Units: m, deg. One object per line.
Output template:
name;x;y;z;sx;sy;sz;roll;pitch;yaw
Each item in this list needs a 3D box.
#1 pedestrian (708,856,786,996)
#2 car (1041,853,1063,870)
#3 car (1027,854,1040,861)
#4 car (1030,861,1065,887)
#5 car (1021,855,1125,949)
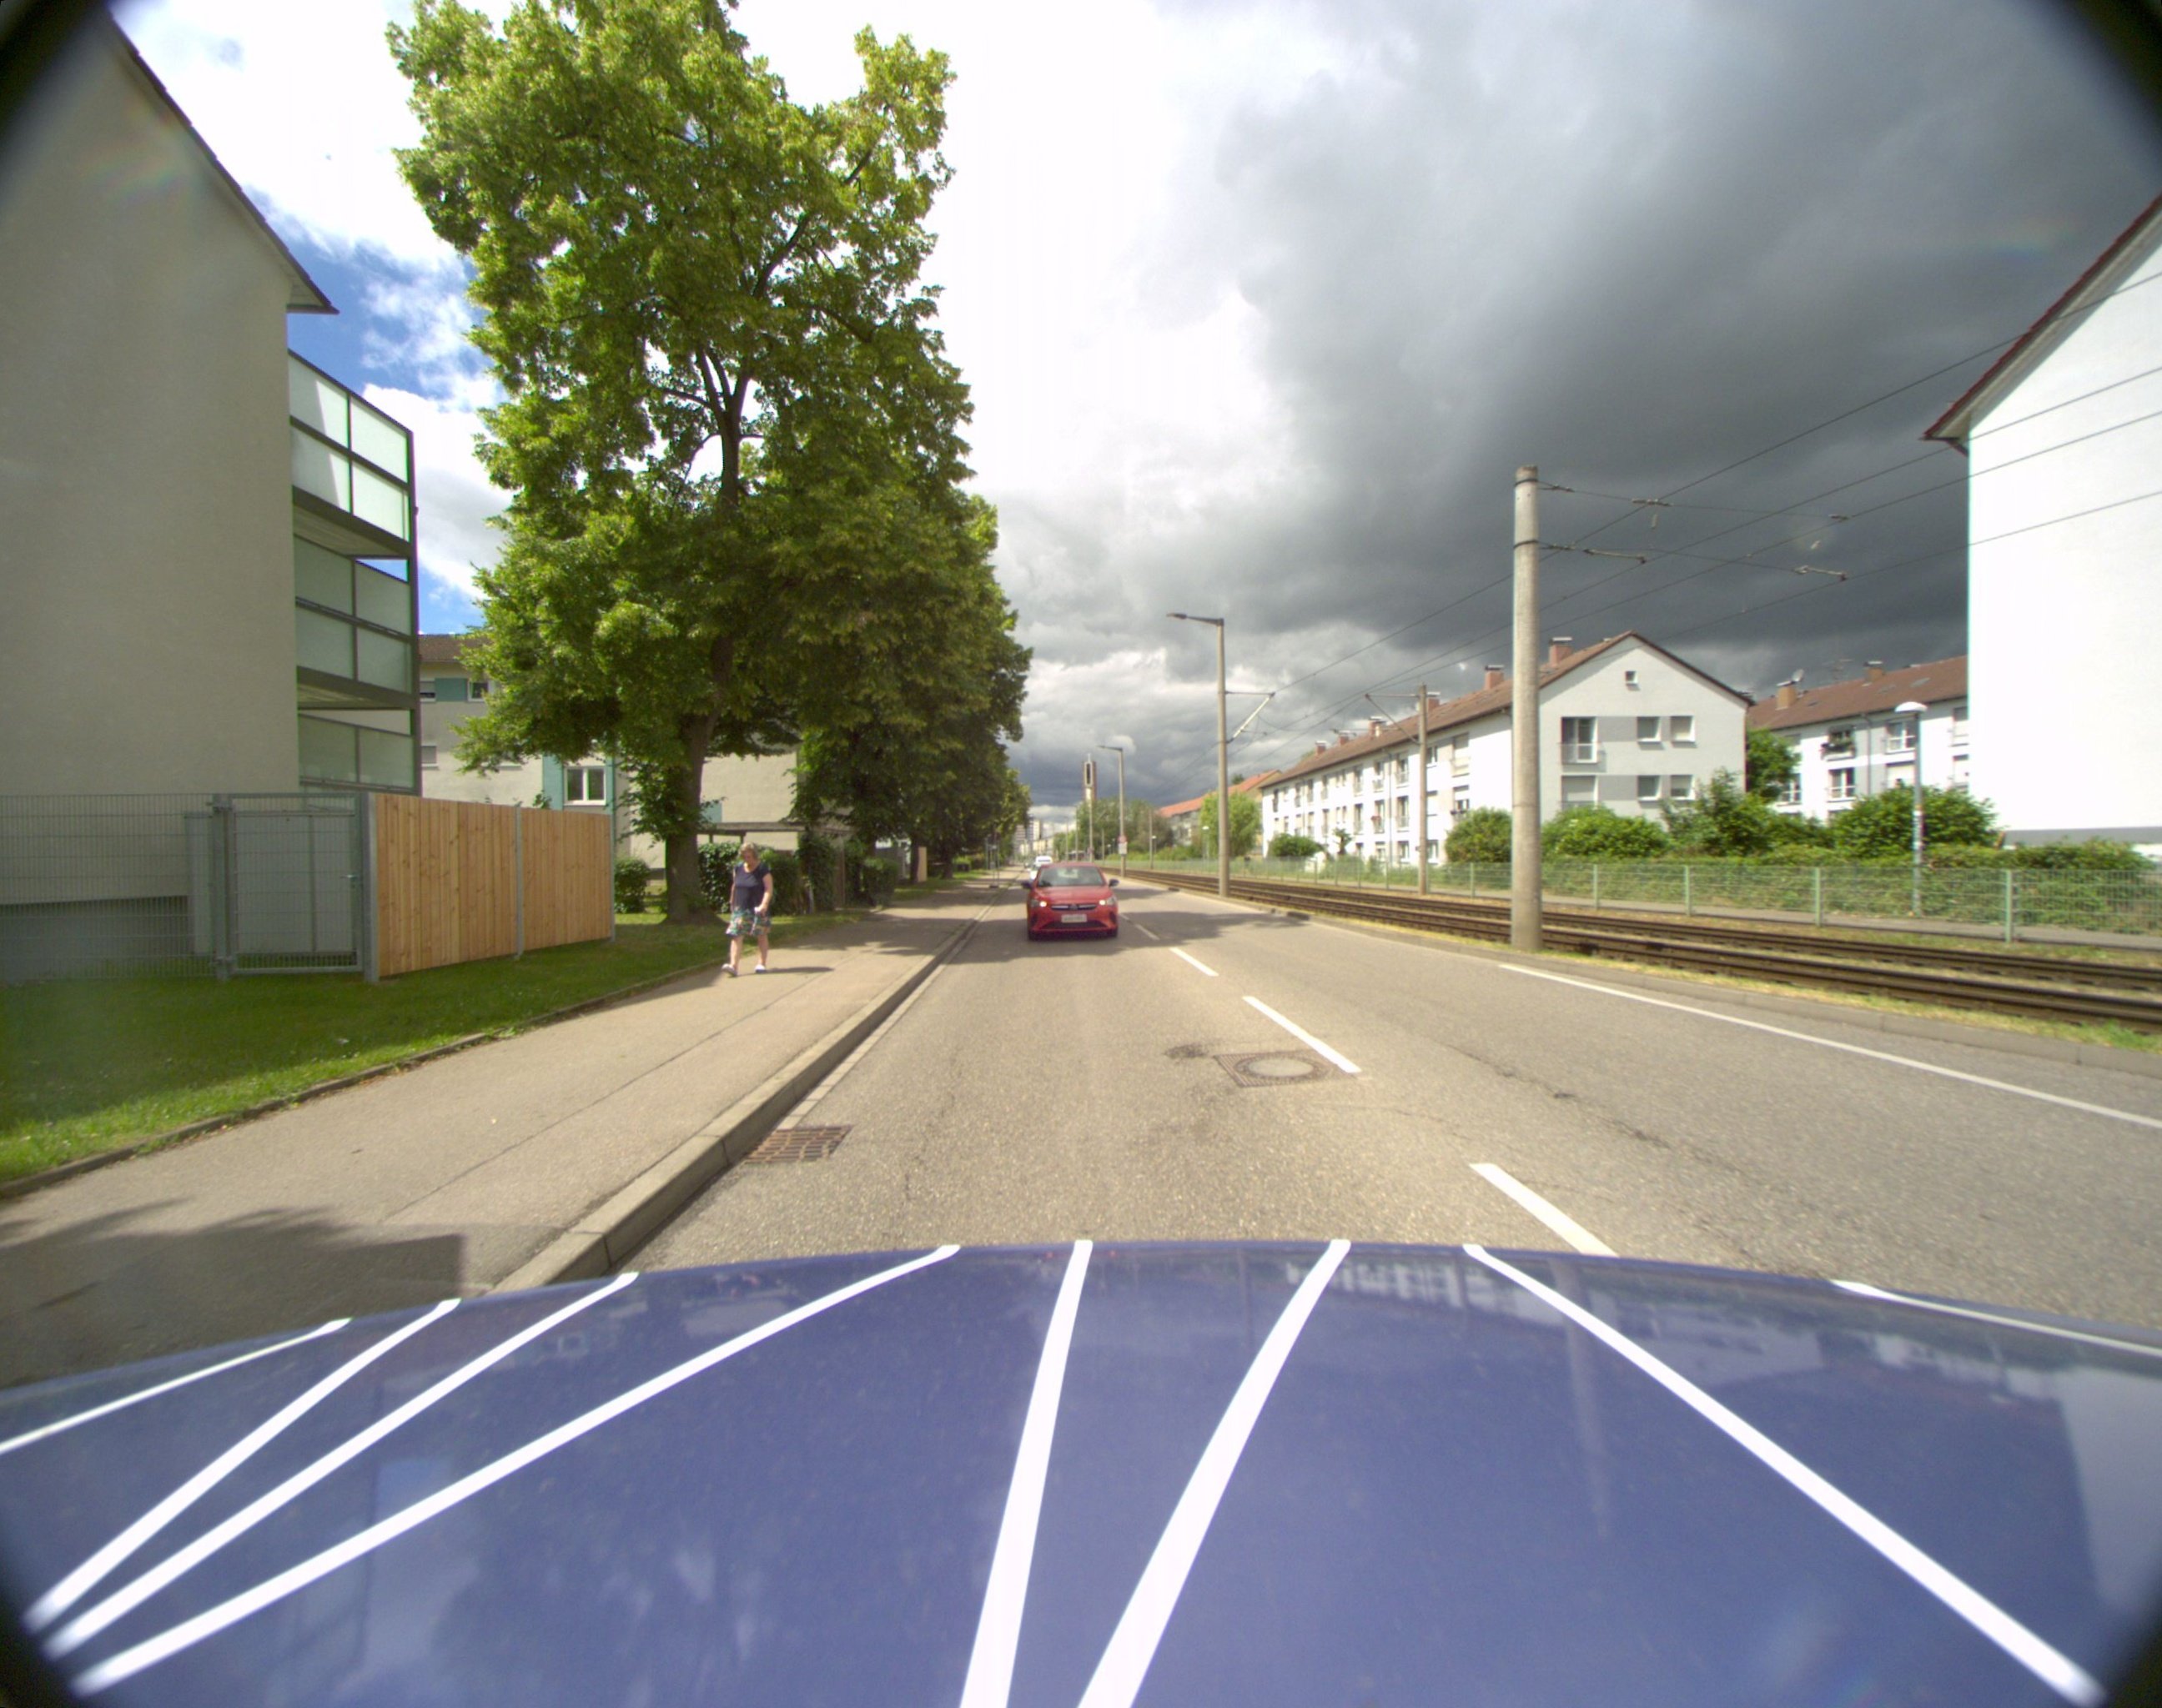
pedestrian;-4.137;0.862;9.457;0.684;1.650;0.831;-1;-1;-9
car;-2.895;0.703;75.399;1.999;1.598;3.998;0;0;-5
car;-8.784;0.657;141.557;1.917;1.309;4.001;0;0;5
car;-1.914;1.111;44.278;1.763;1.389;4.000;0;0;1
car;-0.218;0.860;15.526;1.766;1.548;3.999;-4;0;-2
